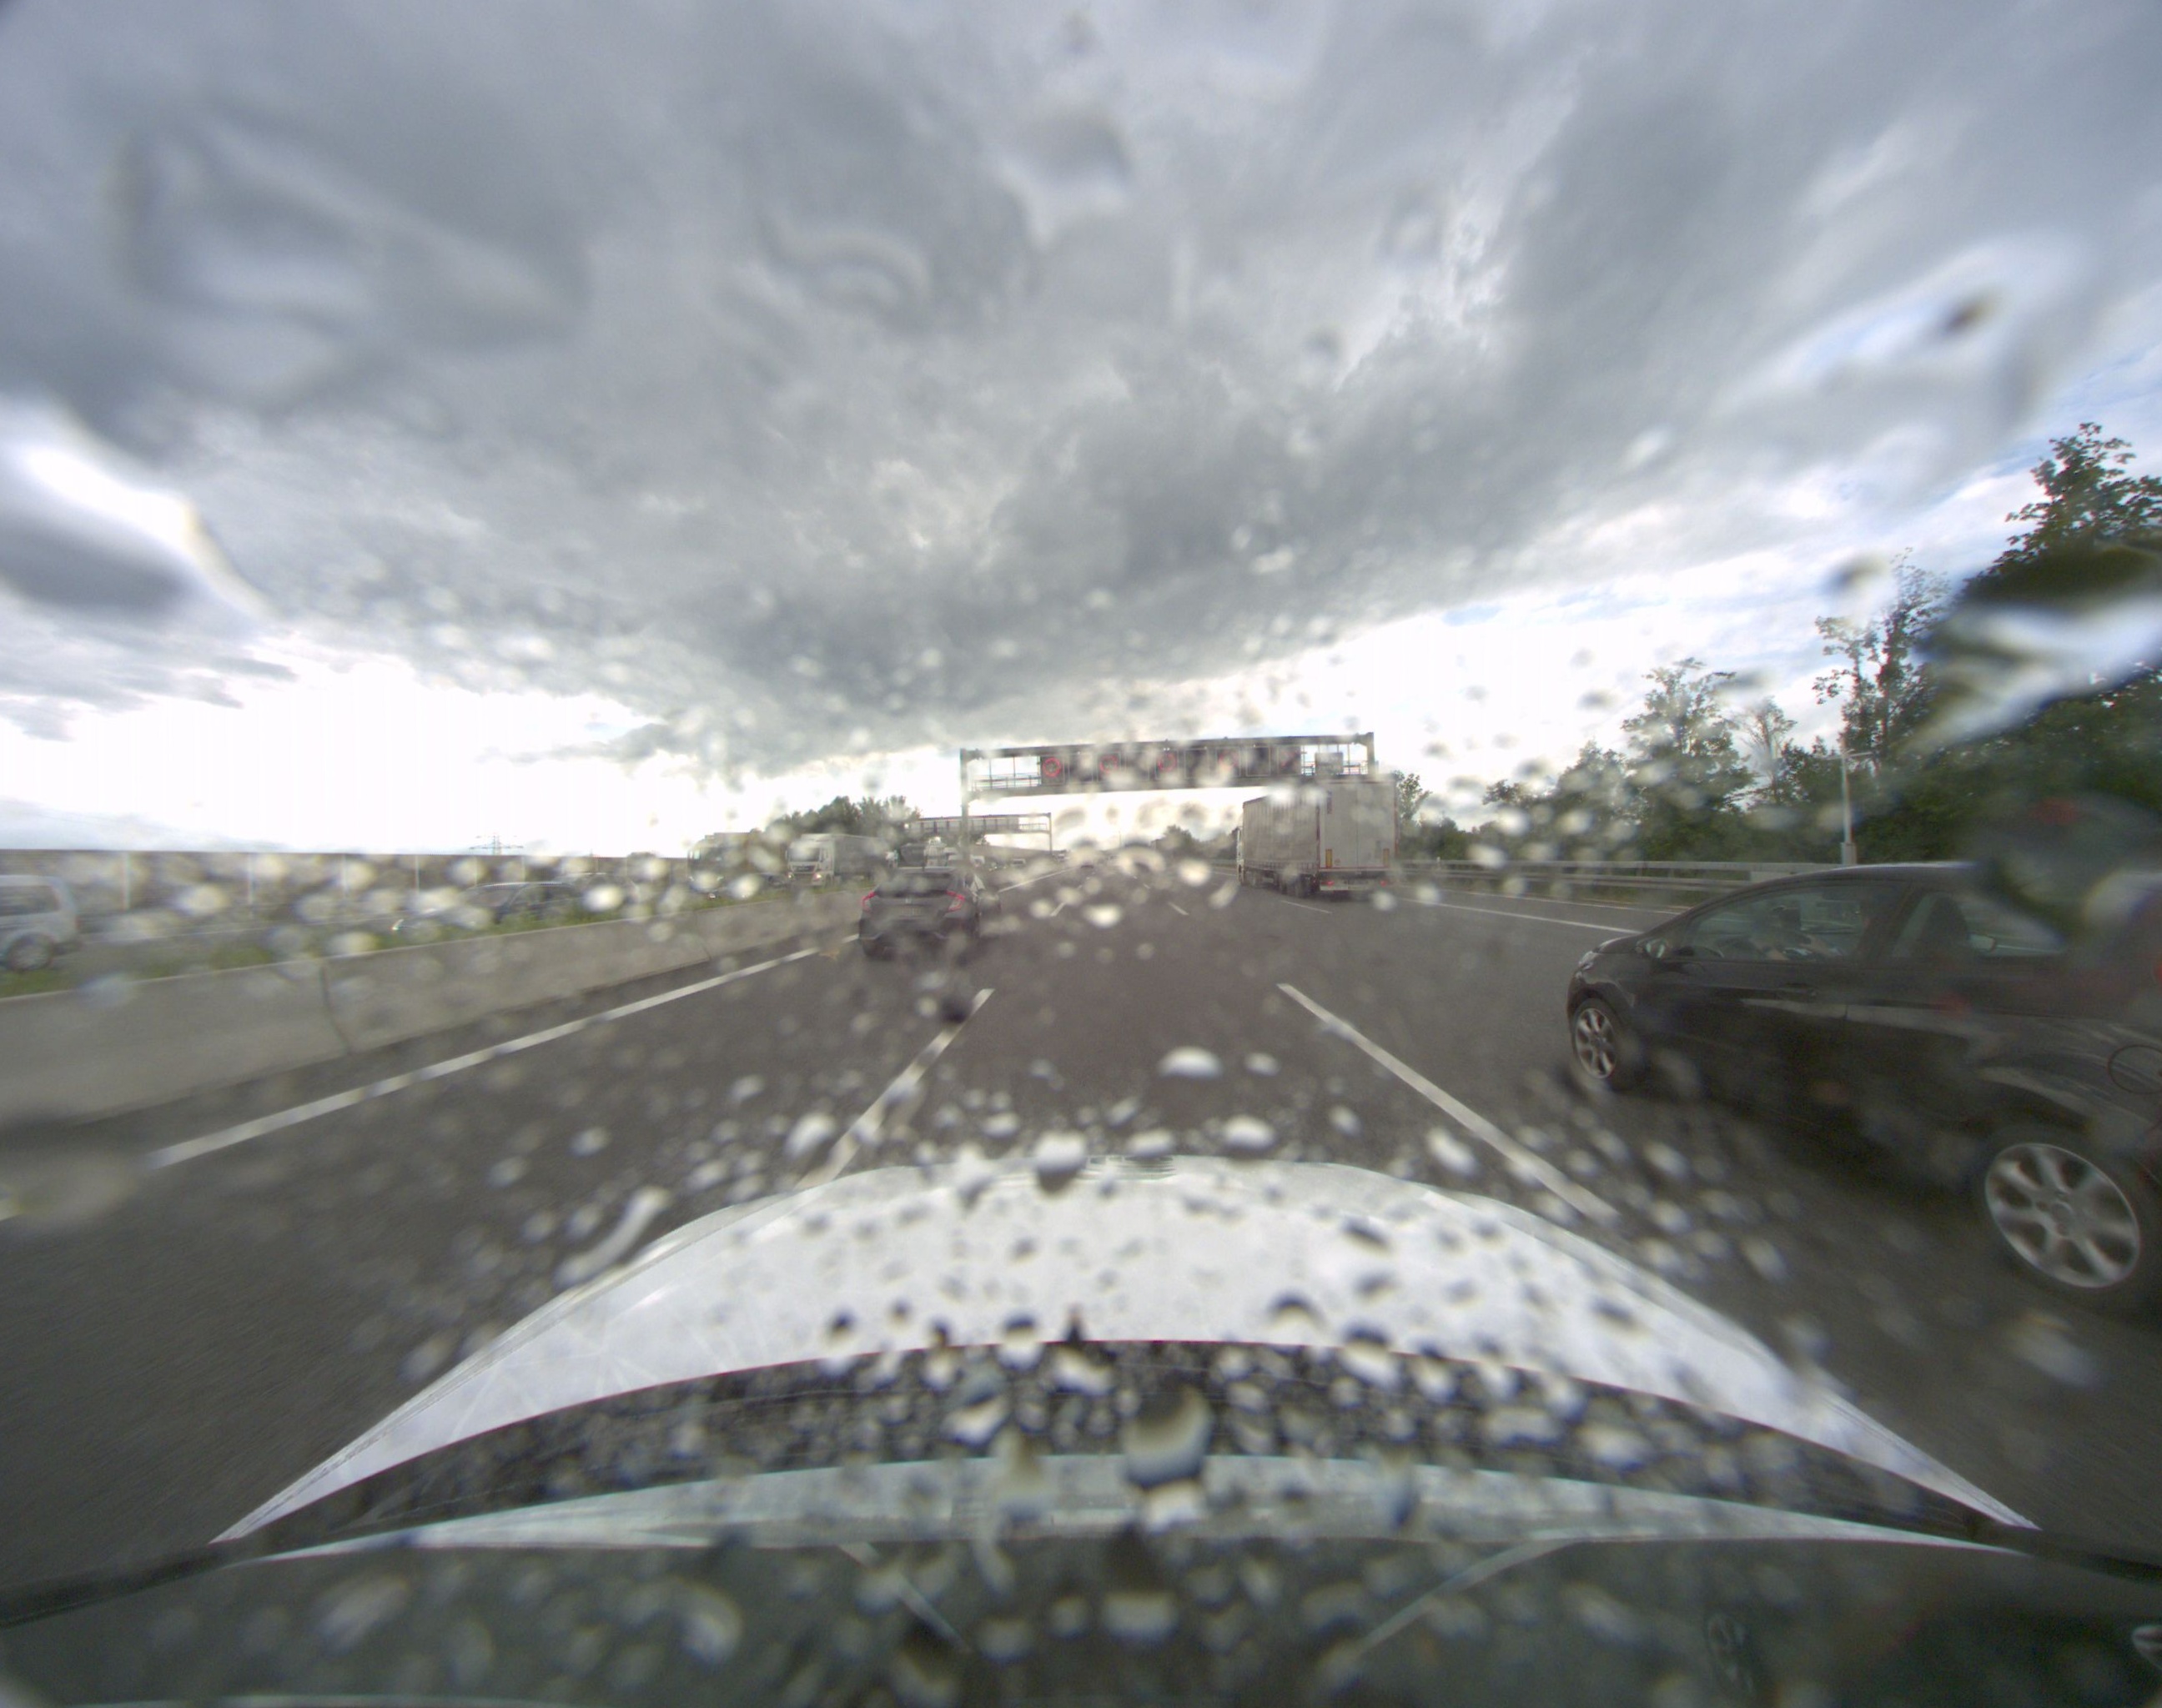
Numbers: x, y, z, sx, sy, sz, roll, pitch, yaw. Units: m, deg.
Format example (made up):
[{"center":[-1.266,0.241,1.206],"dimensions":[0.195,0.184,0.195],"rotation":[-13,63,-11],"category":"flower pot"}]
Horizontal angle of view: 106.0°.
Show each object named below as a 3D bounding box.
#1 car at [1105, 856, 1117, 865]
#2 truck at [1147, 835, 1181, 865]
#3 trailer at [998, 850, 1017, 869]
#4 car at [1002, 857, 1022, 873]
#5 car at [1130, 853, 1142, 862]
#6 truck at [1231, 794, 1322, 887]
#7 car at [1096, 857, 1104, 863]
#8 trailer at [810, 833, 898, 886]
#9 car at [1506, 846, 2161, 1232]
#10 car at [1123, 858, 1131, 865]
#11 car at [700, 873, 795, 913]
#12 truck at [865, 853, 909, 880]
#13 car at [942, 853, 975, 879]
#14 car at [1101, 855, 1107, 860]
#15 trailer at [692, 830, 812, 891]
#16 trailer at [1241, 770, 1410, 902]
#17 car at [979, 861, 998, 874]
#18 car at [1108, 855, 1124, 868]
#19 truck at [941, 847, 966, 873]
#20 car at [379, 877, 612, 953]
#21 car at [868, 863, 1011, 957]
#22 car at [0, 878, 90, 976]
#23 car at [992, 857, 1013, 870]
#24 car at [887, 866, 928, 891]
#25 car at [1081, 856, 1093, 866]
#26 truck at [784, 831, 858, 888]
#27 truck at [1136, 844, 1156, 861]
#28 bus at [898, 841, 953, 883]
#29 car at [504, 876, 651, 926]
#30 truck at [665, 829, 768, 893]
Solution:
[{"center":[4.651,0.989,126.654],"dimensions":[1.767,1.441,4.055],"rotation":[-1,0,0],"category":"car"},{"center":[12.365,-0.616,122.847],"dimensions":[4.165,4.288,12.614],"rotation":[0,0,1],"category":"truck"},{"center":[-12.600,1.014,140.523],"dimensions":[2.439,3.138,6.054],"rotation":[-2,0,3],"category":"trailer"},{"center":[-10.263,1.645,122.190],"dimensions":[2.221,2.237,5.516],"rotation":[-2,-1,3],"category":"car"},{"center":[9.132,0.512,134.543],"dimensions":[1.829,1.441,4.057],"rotation":[-1,0,2],"category":"car"},{"center":[9.156,-0.579,38.845],"dimensions":[2.950,4.020,6.592],"rotation":[-1,0,2],"category":"truck"},{"center":[4.577,1.444,197.940],"dimensions":[1.767,1.441,4.054],"rotation":[-1,0,0],"category":"car"},{"center":[-18.828,0.420,68.824],"dimensions":[2.874,3.961,14.306],"rotation":[0,0,2],"category":"trailer"},{"center":[3.967,0.703,4.670],"dimensions":[1.442,1.441,3.164],"rotation":[-1,0,1],"category":"car"},{"center":[10.795,1.769,192.693],"dimensions":[1.829,1.441,4.057],"rotation":[-1,0,2],"category":"car"},{"center":[-12.993,1.484,32.044],"dimensions":[1.781,1.381,4.590],"rotation":[0,0,1],"category":"car"},{"center":[-21.791,1.360,91.715],"dimensions":[2.680,2.814,7.839],"rotation":[-2,-1,3],"category":"truck"},{"center":[-11.604,1.107,77.513],"dimensions":[2.129,2.351,5.711],"rotation":[0,0,1],"category":"car"},{"center":[7.167,0.965,253.741],"dimensions":[1.766,1.441,4.057],"rotation":[-1,0,2],"category":"car"},{"center":[-23.902,0.459,60.342],"dimensions":[3.017,3.933,12.982],"rotation":[-2,-1,3],"category":"trailer"},{"center":[8.912,-0.579,32.188],"dimensions":[2.950,4.020,14.126],"rotation":[-1,0,2],"category":"trailer"},{"center":[-10.428,1.527,91.843],"dimensions":[1.608,1.388,3.328],"rotation":[-1,0,1],"category":"car"},{"center":[4.182,0.869,97.817],"dimensions":[1.767,1.441,4.055],"rotation":[-1,0,0],"category":"car"},{"center":[-20.429,0.972,130.497],"dimensions":[2.741,3.887,6.054],"rotation":[-2,0,3],"category":"truck"},{"center":[-13.094,1.295,18.694],"dimensions":[1.781,1.381,4.861],"rotation":[0,0,1],"category":"car"},{"center":[-2.428,0.908,15.246],"dimensions":[1.755,1.369,5.059],"rotation":[-1,0,0],"category":"car"},{"center":[-20.495,1.346,13.783],"dimensions":[1.784,1.739,4.578],"rotation":[0,0,1],"category":"car"},{"center":[-12.887,1.516,134.401],"dimensions":[2.439,2.051,6.197],"rotation":[-2,0,3],"category":"car"},{"center":[-11.580,1.594,54.472],"dimensions":[1.730,1.539,4.377],"rotation":[0,0,1],"category":"car"},{"center":[0.851,0.969,116.993],"dimensions":[1.766,1.441,3.874],"rotation":[-1,0,0],"category":"car"},{"center":[-19.151,0.374,60.518],"dimensions":[2.874,3.961,7.540],"rotation":[0,0,2],"category":"truck"},{"center":[16.143,-0.320,202.989],"dimensions":[4.228,4.176,11.994],"rotation":[0,0,2],"category":"truck"},{"center":[-14.677,0.727,77.839],"dimensions":[2.643,3.679,10.641],"rotation":[-2,-1,3],"category":"bus"},{"center":[-16.462,1.483,26.965],"dimensions":[1.781,1.381,4.861],"rotation":[0,0,1],"category":"car"},{"center":[-24.172,0.458,54.580],"dimensions":[3.017,3.933,7.715],"rotation":[-2,-1,3],"category":"truck"}]
